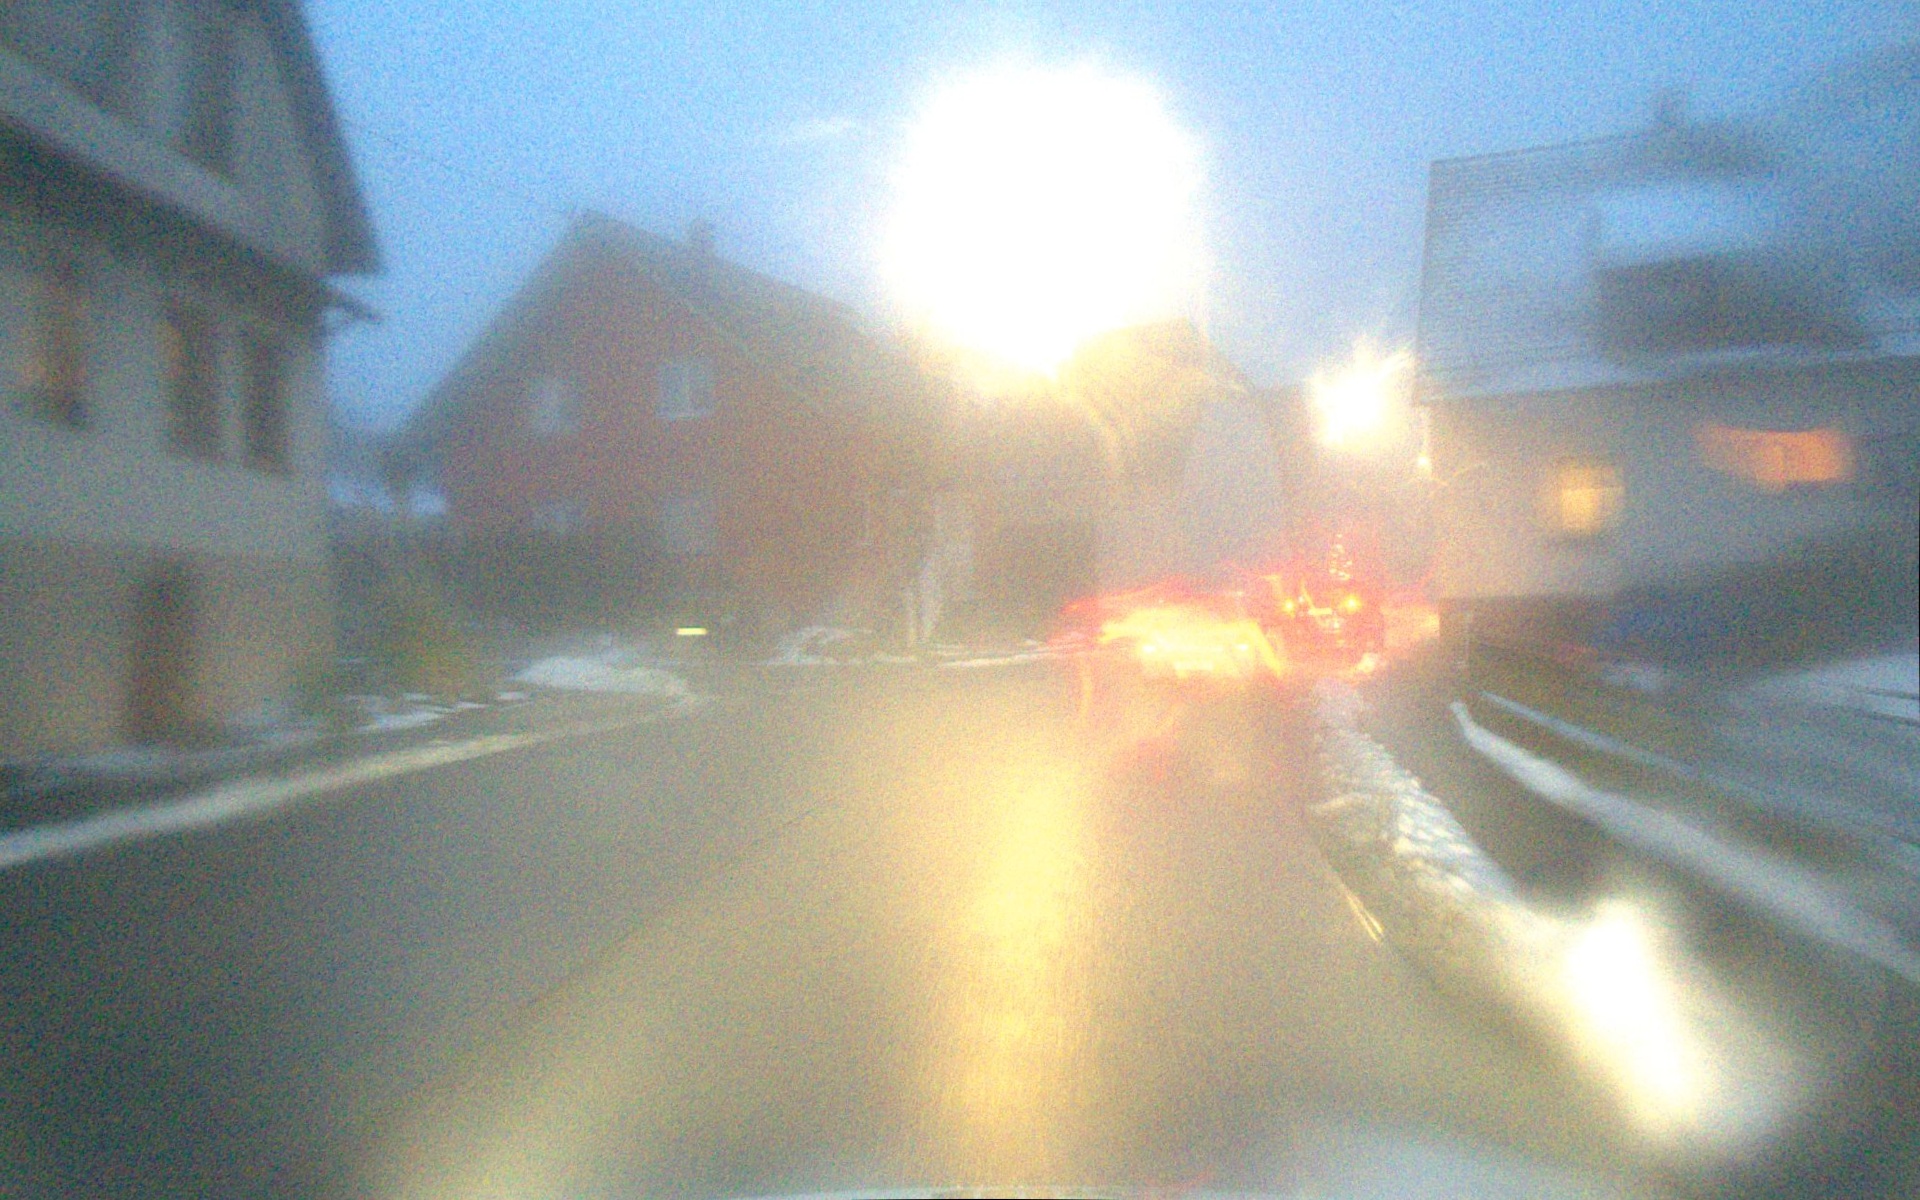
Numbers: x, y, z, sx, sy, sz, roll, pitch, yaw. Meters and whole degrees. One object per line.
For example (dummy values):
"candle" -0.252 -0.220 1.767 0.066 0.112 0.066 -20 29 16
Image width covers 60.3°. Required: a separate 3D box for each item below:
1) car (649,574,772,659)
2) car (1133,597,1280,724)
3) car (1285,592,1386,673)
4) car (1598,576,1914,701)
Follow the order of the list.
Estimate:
"car" -4.734 0.322 31.843 1.836 1.530 3.999 0 -1 -1
"car" 3.525 0.797 23.193 1.610 1.624 3.702 0 -1 15
"car" 7.959 0.662 34.906 1.611 1.624 3.700 0 -1 20
"car" 11.401 0.514 23.996 3.904 1.624 1.912 1 0 19
